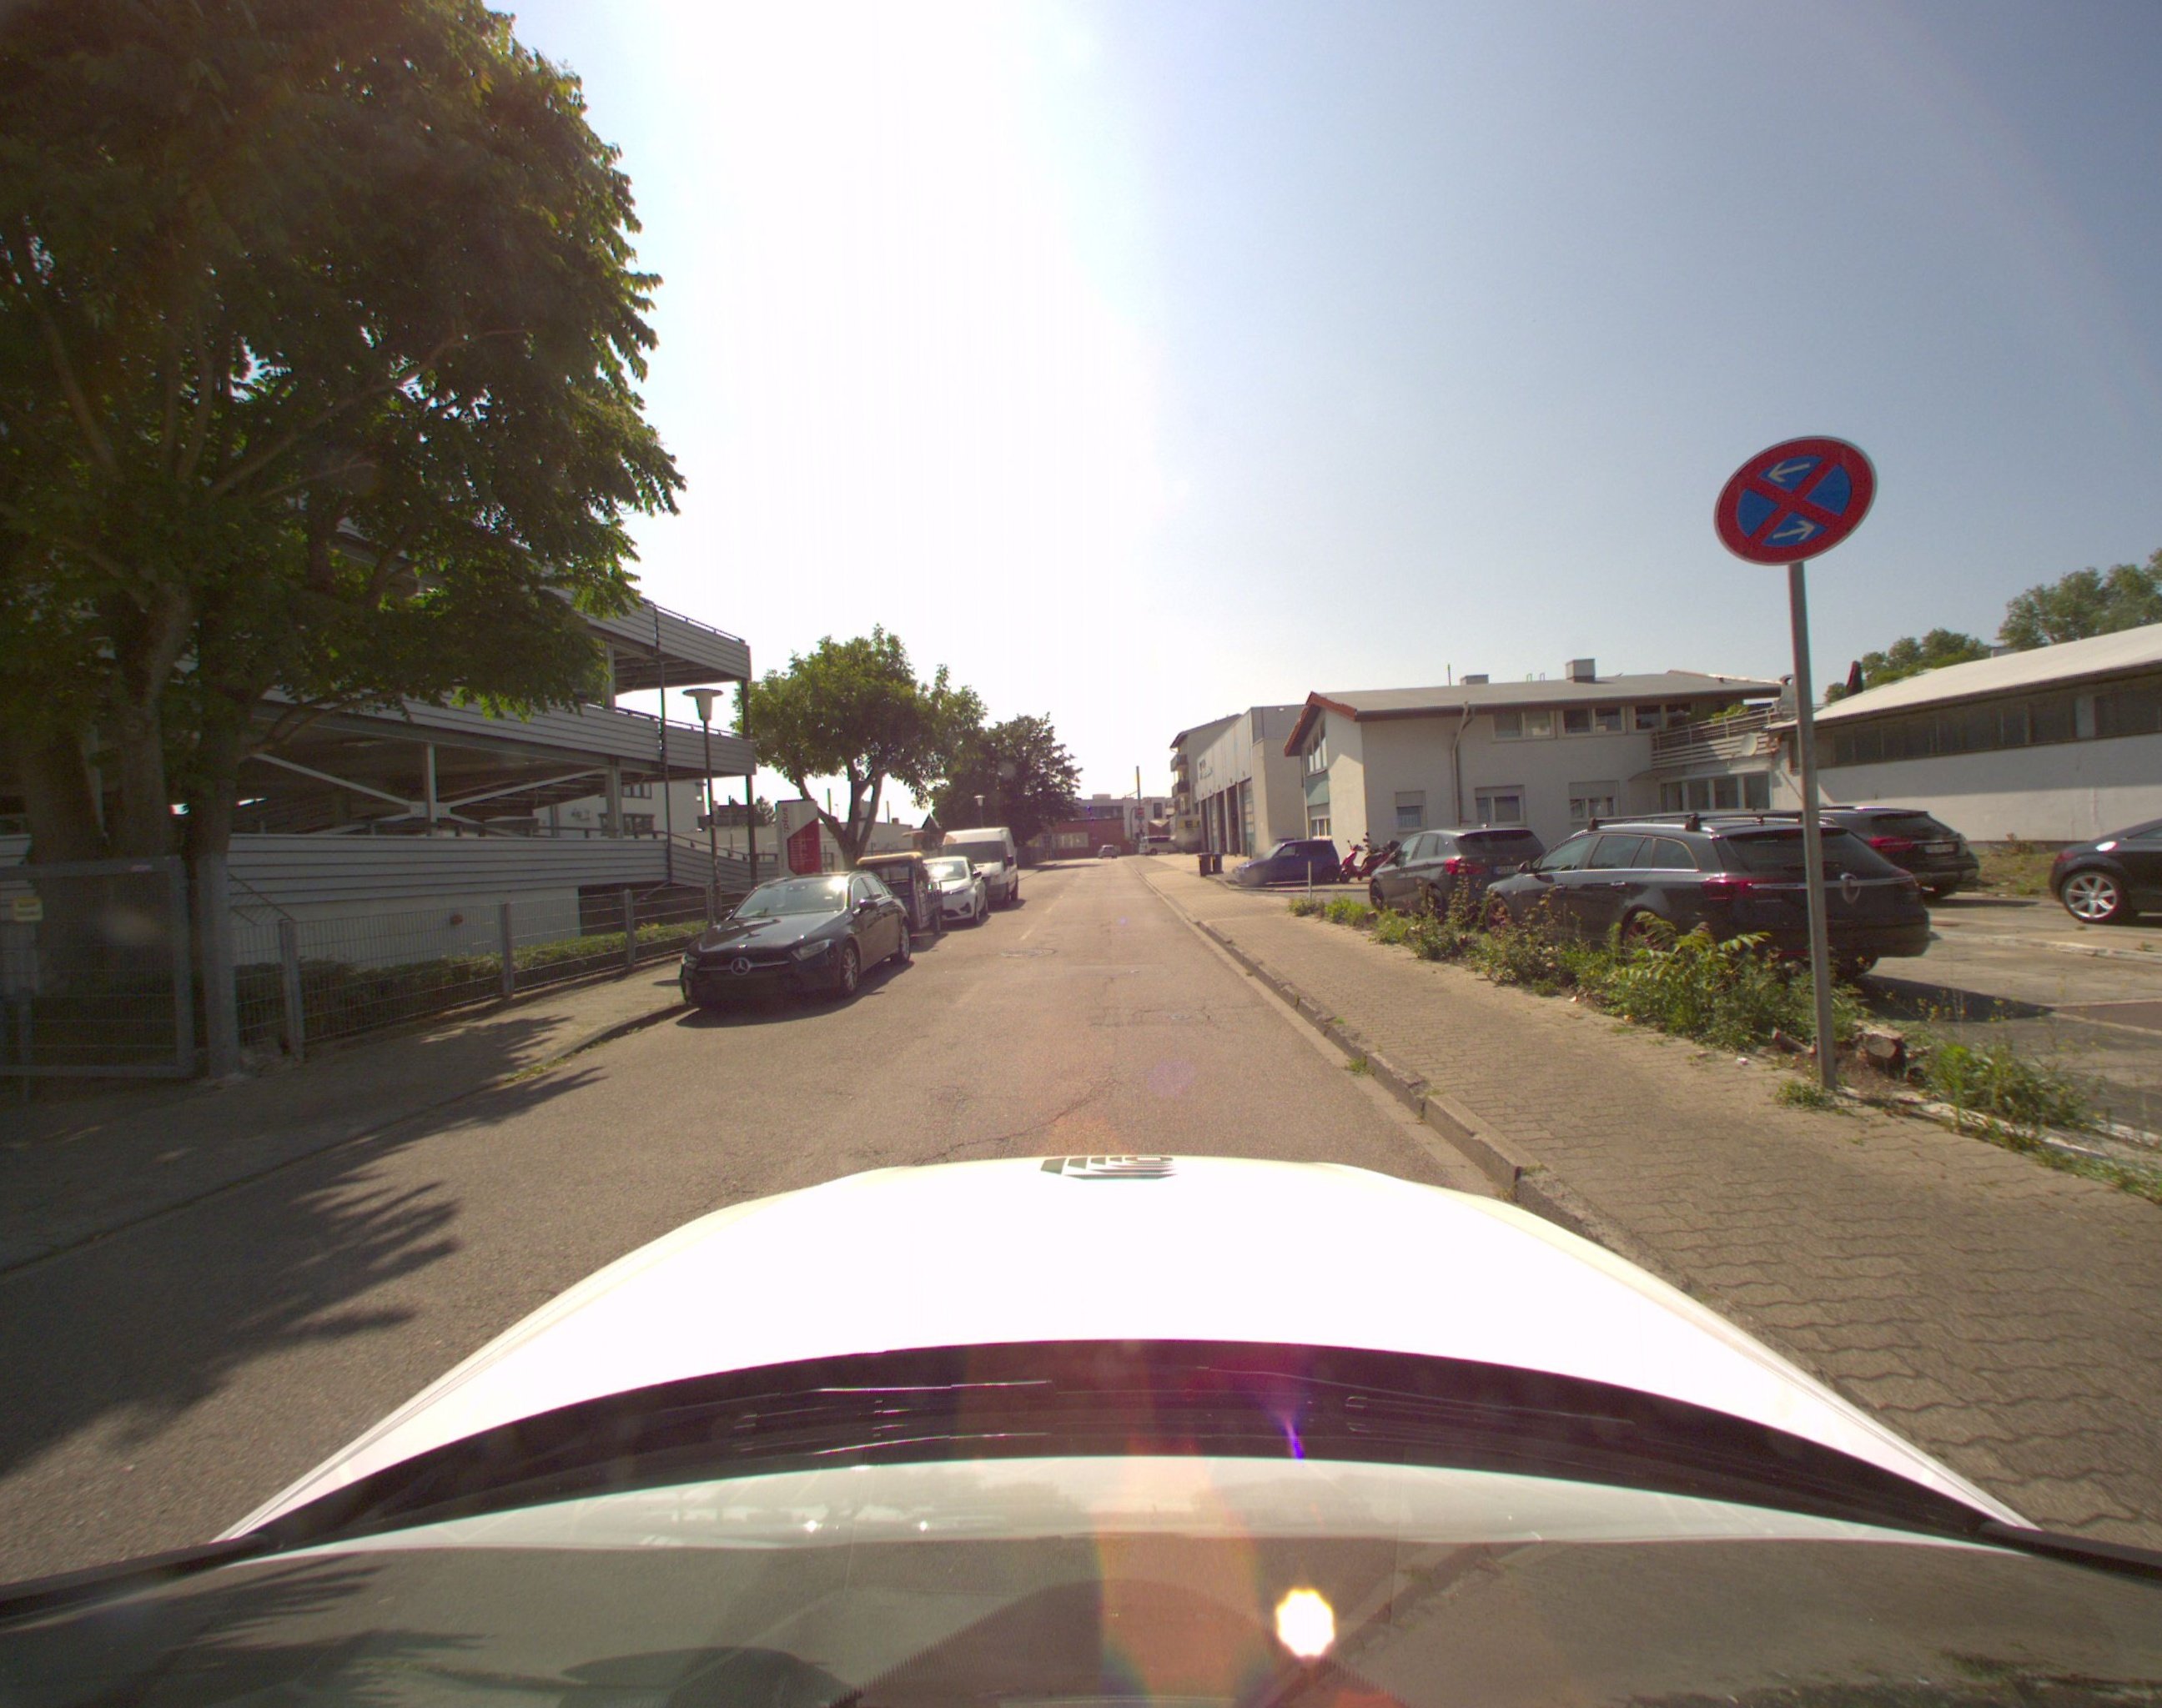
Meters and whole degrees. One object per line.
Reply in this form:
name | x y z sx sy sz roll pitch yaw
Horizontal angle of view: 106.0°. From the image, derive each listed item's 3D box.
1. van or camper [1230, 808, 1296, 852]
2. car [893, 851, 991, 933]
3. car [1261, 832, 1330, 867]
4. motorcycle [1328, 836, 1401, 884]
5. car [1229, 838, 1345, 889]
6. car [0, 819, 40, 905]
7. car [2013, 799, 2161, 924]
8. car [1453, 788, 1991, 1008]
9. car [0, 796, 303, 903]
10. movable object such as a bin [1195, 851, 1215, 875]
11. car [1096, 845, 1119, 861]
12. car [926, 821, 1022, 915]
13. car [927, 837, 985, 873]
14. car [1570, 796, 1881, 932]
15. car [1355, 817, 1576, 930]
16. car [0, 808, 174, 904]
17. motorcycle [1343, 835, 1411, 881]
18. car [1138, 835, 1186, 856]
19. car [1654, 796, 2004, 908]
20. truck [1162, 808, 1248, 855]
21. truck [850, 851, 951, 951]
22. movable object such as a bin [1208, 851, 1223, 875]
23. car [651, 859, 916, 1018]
van or camper | 14.768 -1.954 66.272 4.743 3.288 1.999 -3 0 -2
car | -3.175 0.806 19.308 1.701 1.624 3.969 -4 0 -3
car | 11.007 -0.226 41.667 1.756 1.539 3.726 -3 1 43
motorcycle | 8.577 0.186 24.679 1.864 1.279 0.796 -5 0 -1
car | 6.490 0.278 25.941 3.240 1.398 1.674 -3 0 2
car | -22.890 0.177 15.284 1.794 1.672 4.025 -3 -2 35
car | 12.333 0.055 8.081 1.634 1.324 4.106 -3 0 4
car | 5.999 0.312 8.665 1.852 1.567 4.953 -3 0 1
car | -16.851 -0.036 14.533 1.794 1.672 4.025 -3 -2 35
movable object such as a bin | 5.129 0.369 33.648 0.562 0.946 0.561 -3 0 35
car | 2.955 -0.115 90.616 1.889 1.685 3.948 -3 0 -7
car | -3.053 0.357 24.486 1.999 2.366 5.229 -5 0 0
car | -9.571 0.060 62.539 4.073 2.513 1.777 -3 0 0
car | 8.717 0.087 11.467 1.751 1.595 3.624 0 1 5
car | 6.378 0.273 14.125 1.805 1.558 4.294 -3 0 1
car | -19.839 0.067 14.986 1.794 1.672 4.025 -3 -2 35
motorcycle | 9.318 0.119 25.667 1.748 1.279 0.794 -5 0 -7
car | 8.502 -0.919 85.533 4.666 1.957 1.905 -3 1 -17
car | 12.289 -0.023 13.823 1.759 1.496 4.136 -5 0 -9
truck | 11.730 -2.137 77.125 7.346 3.645 2.763 -6 1 -5
truck | -3.378 0.811 15.701 1.135 1.622 3.140 -5 0 0
movable object such as a bin | 5.635 0.365 34.048 0.510 0.946 0.489 -4 0 13
car | -3.471 0.879 10.414 1.698 1.463 4.115 -4 0 1
